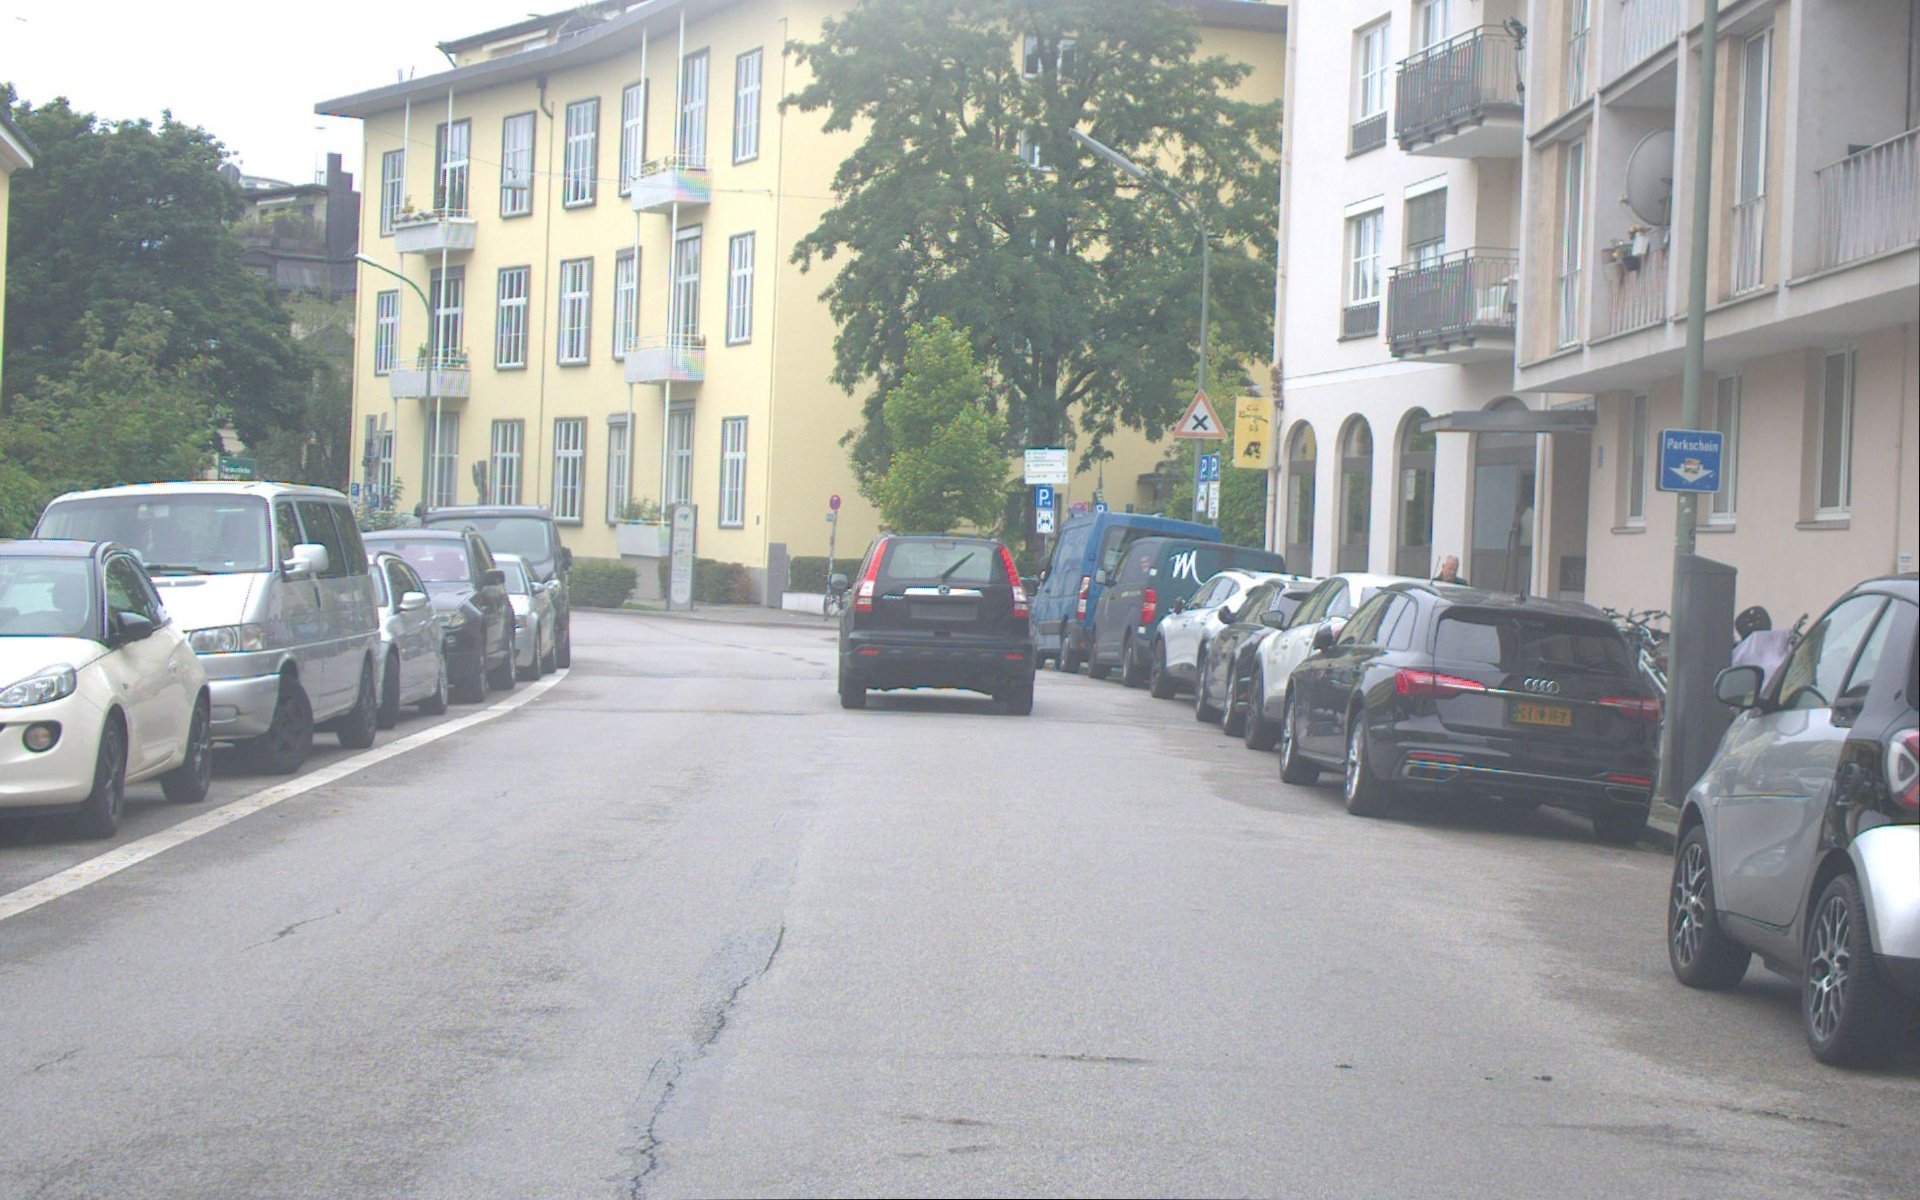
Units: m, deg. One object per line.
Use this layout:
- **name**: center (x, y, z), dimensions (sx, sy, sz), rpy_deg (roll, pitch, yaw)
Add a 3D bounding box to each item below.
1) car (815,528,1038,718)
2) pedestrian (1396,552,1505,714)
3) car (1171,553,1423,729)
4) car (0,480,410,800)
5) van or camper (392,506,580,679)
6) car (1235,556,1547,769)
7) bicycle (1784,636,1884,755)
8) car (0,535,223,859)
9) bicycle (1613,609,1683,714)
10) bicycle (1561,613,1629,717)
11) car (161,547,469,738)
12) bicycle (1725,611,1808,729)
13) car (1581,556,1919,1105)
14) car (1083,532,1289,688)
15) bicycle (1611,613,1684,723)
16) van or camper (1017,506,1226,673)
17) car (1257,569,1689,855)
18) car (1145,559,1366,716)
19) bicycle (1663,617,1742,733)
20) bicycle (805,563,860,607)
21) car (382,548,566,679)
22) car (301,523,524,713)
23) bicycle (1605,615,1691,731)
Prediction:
- **car**: center (-0.266, 0.162, 33.324), dimensions (1.995, 1.688, 4.380), rpy_deg (1, 1, 1)
- **pedestrian**: center (5.223, 0.337, 36.680), dimensions (0.898, 1.682, 1.320), rpy_deg (1, 1, -2)
- **car**: center (3.133, 0.334, 32.791), dimensions (1.739, 1.494, 4.496), rpy_deg (1, 1, -3)
- **car**: center (-5.050, 0.199, 22.857), dimensions (1.993, 1.869, 4.758), rpy_deg (-1, 1, 0)
- **van or camper**: center (-5.948, -0.136, 43.619), dimensions (1.960, 2.058, 4.754), rpy_deg (0, 1, -3)
- **car**: center (3.329, 0.433, 27.298), dimensions (1.739, 1.494, 4.220), rpy_deg (1, 1, -3)
- **bicycle**: center (7.341, 0.793, 28.916), dimensions (0.444, 0.932, 1.401), rpy_deg (1, 1, -1)
- **car**: center (-4.934, 0.428, 17.790), dimensions (1.578, 1.487, 3.731), rpy_deg (-1, 1, -3)
- **bicycle**: center (7.007, 0.614, 35.039), dimensions (0.390, 1.020, 1.401), rpy_deg (1, 1, -1)
- **bicycle**: center (6.542, 0.663, 35.432), dimensions (0.423, 1.020, 1.301), rpy_deg (1, 1, -1)
- **car**: center (-5.257, 0.292, 28.550), dimensions (1.701, 1.418, 4.425), rpy_deg (-1, 1, 0)
- **bicycle**: center (7.377, 0.632, 31.481), dimensions (0.390, 1.020, 1.401), rpy_deg (1, 1, -1)
- **car**: center (3.411, 0.703, 11.892), dimensions (1.671, 1.529, 3.881), rpy_deg (5, 1, -1)
- **car**: center (2.773, 0.069, 43.268), dimensions (1.964, 1.810, 4.936), rpy_deg (1, 1, -3)
- **bicycle**: center (6.703, 0.652, 33.539), dimensions (0.390, 1.020, 1.401), rpy_deg (1, 1, -1)
- **van or camper**: center (2.230, -0.201, 49.043), dimensions (2.060, 2.223, 5.440), rpy_deg (1, 1, -7)
- **car**: center (3.140, 0.626, 21.978), dimensions (1.796, 1.415, 4.483), rpy_deg (5, 1, -3)
- **car**: center (3.174, 0.361, 37.666), dimensions (1.739, 1.532, 4.274), rpy_deg (1, 1, -4)
- **bicycle**: center (6.904, 0.690, 31.990), dimensions (0.390, 1.020, 1.401), rpy_deg (1, 1, -1)
- **bicycle**: center (-3.295, -0.391, 88.692), dimensions (0.608, 1.069, 2.218), rpy_deg (1, 1, -24)
- **car**: center (-5.422, 0.115, 38.729), dimensions (1.619, 1.373, 4.072), rpy_deg (0, 1, -2)
- **car**: center (-5.291, 0.119, 33.707), dimensions (1.619, 1.724, 4.425), rpy_deg (0, 1, -2)
- **bicycle**: center (6.395, 0.672, 31.995), dimensions (0.483, 1.020, 1.401), rpy_deg (1, 1, -1)
